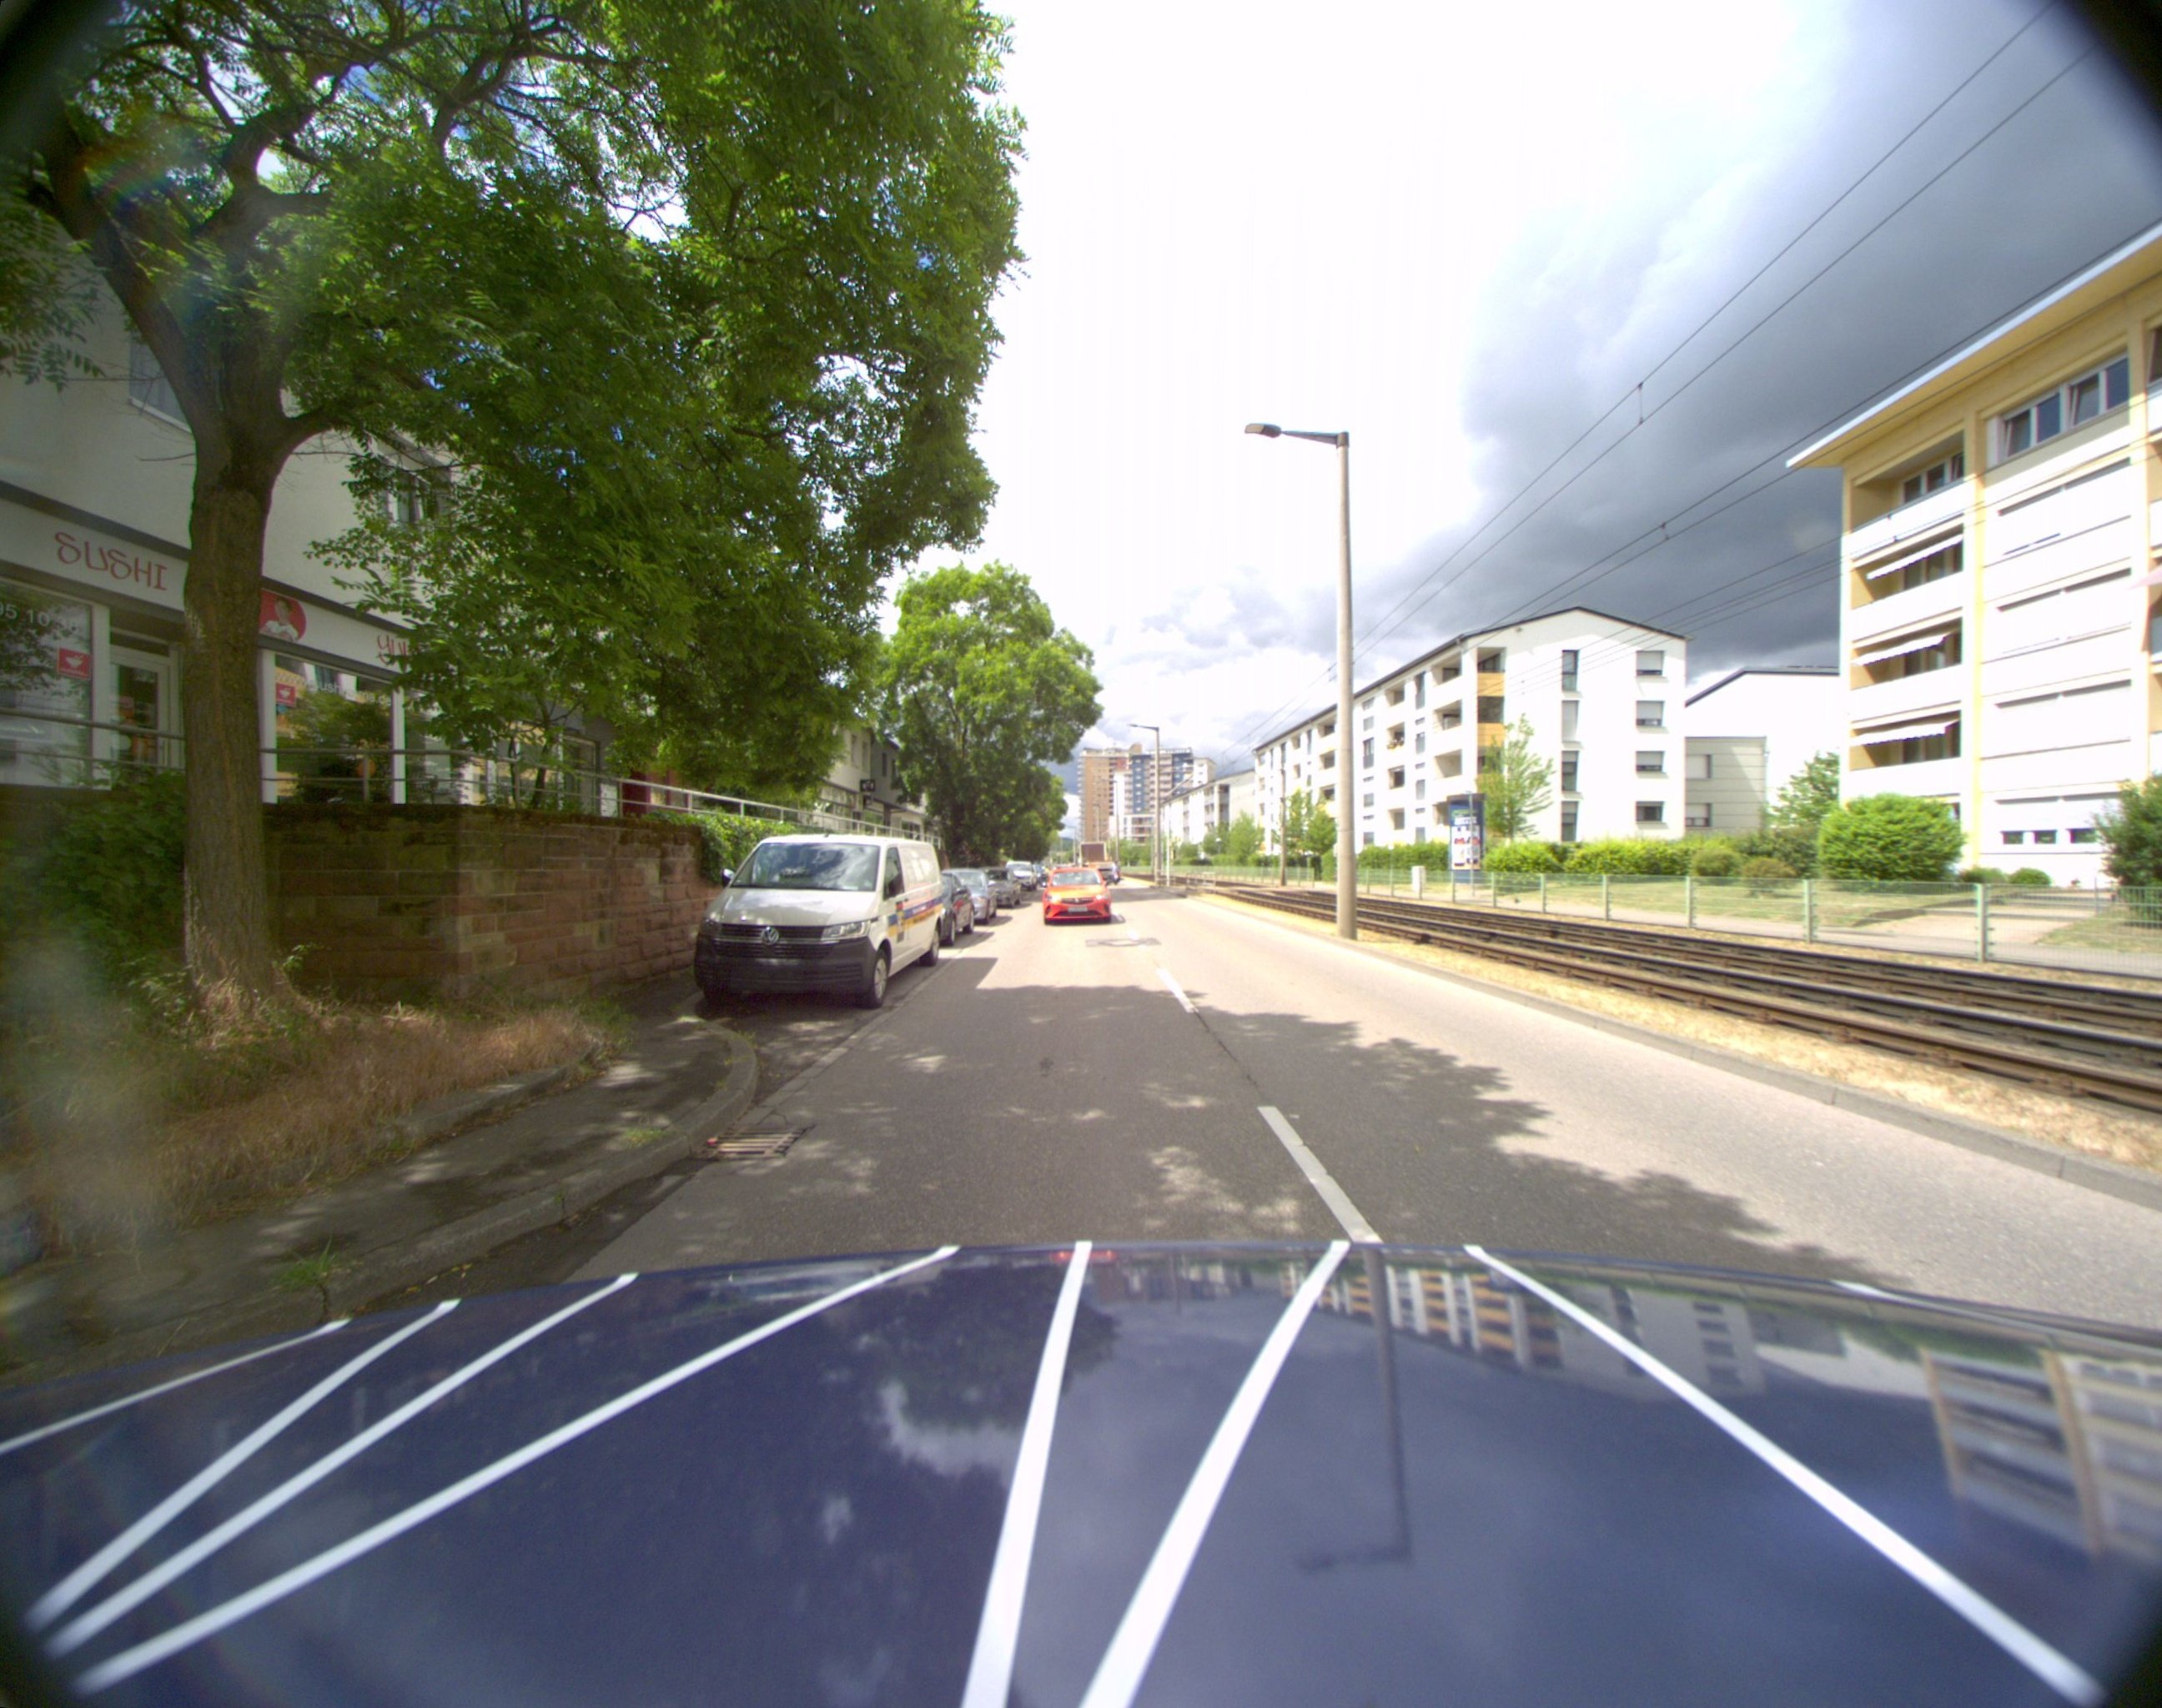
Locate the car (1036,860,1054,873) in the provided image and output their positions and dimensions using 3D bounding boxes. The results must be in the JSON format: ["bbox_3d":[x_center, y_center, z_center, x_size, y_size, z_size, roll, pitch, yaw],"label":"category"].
[{"bbox_3d":[-3.947,1.372,83.959,1.784,1.420,4.147,-1,0,1],"label":"car"}]

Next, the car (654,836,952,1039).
[{"bbox_3d":[-3.128,0.821,9.907,1.978,1.958,5.013,-1,0,1],"label":"car"}]

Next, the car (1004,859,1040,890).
[{"bbox_3d":[-3.308,1.121,43.218,1.819,1.643,4.146,-1,0,-2],"label":"car"}]

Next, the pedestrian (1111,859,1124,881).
[{"bbox_3d":[2.413,1.028,50.442,0.737,1.408,0.927,-2,0,-1],"label":"pedestrian"}]

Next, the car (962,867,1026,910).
[{"bbox_3d":[-3.101,1.206,27.851,1.784,1.420,4.147,-1,0,1],"label":"car"}]

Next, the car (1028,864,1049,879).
[{"bbox_3d":[-4.206,1.732,75.609,1.784,1.420,4.147,-1,0,1],"label":"car"}]

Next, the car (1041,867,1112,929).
[{"bbox_3d":[-0.071,1.105,20.512,1.723,1.434,4.000,-1,0,1],"label":"car"}]

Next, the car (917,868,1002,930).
[{"bbox_3d":[-3.225,1.160,20.881,1.785,1.420,4.144,2,0,-2],"label":"car"}]

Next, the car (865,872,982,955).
[{"bbox_3d":[-3.119,1.139,15.729,1.578,1.420,3.735,-1,0,1],"label":"car"}]

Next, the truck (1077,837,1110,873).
[{"bbox_3d":[1.248,0.082,76.770,2.853,3.428,4.414,-3,0,-3],"label":"truck"}]

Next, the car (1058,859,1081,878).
[{"bbox_3d":[-1.052,1.253,68.134,1.927,1.543,3.999,-2,0,-2],"label":"car"}]

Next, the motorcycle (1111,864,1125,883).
[{"bbox_3d":[2.431,1.304,50.465,0.783,1.181,1.869,-1,0,-1],"label":"motorcycle"}]

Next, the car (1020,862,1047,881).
[{"bbox_3d":[-3.716,1.345,60.063,1.784,1.420,4.147,-1,0,1],"label":"car"}]

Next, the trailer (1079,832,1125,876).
[{"bbox_3d":[1.689,0.044,68.358,2.876,3.428,14.611,-3,0,-3],"label":"trailer"}]
